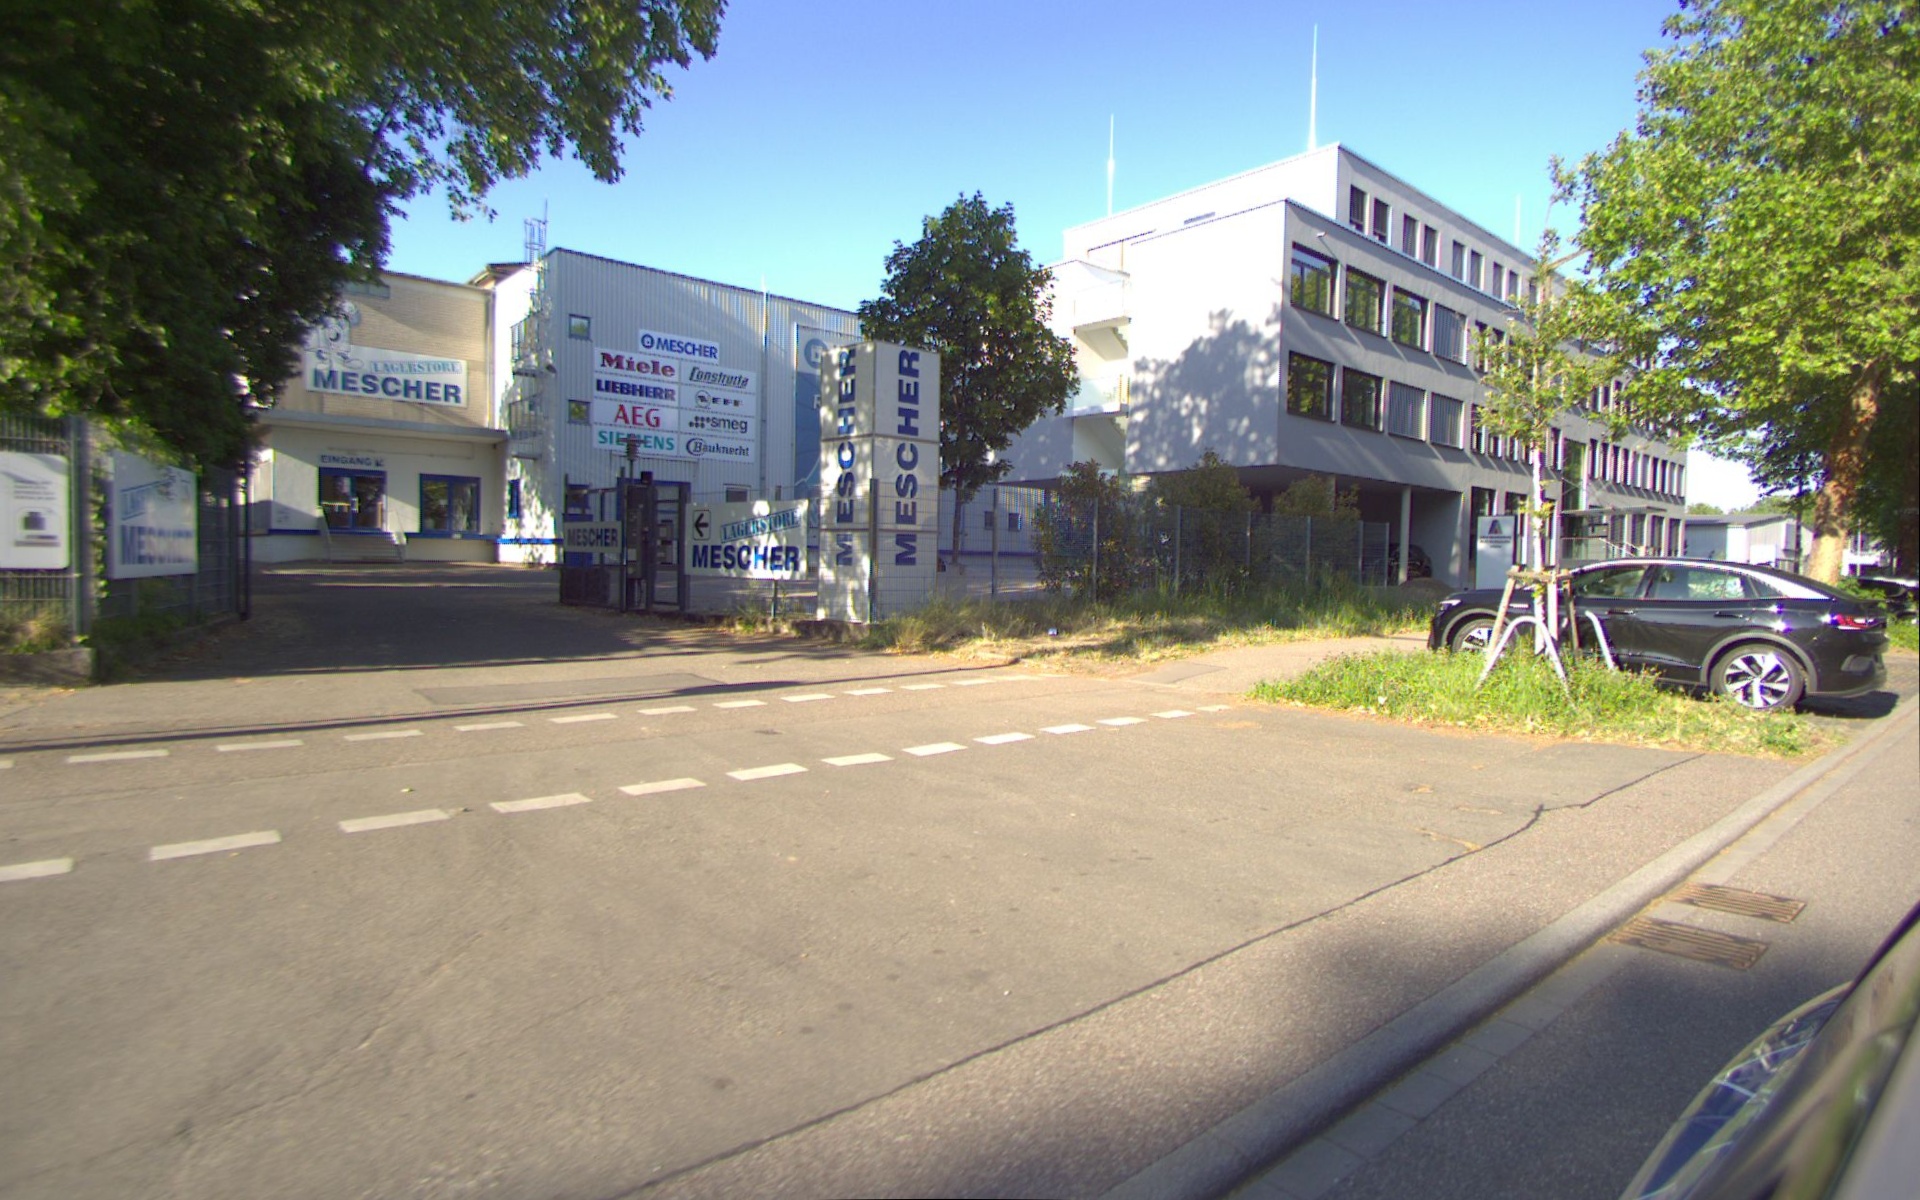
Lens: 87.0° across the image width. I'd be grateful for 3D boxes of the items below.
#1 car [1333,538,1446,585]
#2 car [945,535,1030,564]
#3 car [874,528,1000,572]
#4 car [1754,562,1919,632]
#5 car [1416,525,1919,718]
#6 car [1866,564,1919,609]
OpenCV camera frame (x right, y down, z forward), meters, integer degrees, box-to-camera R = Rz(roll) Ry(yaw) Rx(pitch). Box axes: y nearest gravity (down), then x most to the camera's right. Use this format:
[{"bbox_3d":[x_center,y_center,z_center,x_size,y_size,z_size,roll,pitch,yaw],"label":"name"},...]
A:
[{"bbox_3d":[16.801,-1.517,39.534,4.581,1.753,2.000,-2,2,-36],"label":"car"},{"bbox_3d":[1.371,-2.465,49.699,3.931,1.348,1.873,-3,2,-41],"label":"car"},{"bbox_3d":[-0.828,-1.900,38.499,4.697,1.564,1.995,-3,2,-44],"label":"car"},{"bbox_3d":[22.294,-0.102,25.105,1.829,1.503,3.791,-2,5,-42],"label":"car"},{"bbox_3d":[8.185,0.060,12.053,1.912,1.735,4.576,-3,6,-44],"label":"car"},{"bbox_3d":[35.724,-0.375,36.509,1.829,1.503,4.294,-2,7,-42],"label":"car"}]
